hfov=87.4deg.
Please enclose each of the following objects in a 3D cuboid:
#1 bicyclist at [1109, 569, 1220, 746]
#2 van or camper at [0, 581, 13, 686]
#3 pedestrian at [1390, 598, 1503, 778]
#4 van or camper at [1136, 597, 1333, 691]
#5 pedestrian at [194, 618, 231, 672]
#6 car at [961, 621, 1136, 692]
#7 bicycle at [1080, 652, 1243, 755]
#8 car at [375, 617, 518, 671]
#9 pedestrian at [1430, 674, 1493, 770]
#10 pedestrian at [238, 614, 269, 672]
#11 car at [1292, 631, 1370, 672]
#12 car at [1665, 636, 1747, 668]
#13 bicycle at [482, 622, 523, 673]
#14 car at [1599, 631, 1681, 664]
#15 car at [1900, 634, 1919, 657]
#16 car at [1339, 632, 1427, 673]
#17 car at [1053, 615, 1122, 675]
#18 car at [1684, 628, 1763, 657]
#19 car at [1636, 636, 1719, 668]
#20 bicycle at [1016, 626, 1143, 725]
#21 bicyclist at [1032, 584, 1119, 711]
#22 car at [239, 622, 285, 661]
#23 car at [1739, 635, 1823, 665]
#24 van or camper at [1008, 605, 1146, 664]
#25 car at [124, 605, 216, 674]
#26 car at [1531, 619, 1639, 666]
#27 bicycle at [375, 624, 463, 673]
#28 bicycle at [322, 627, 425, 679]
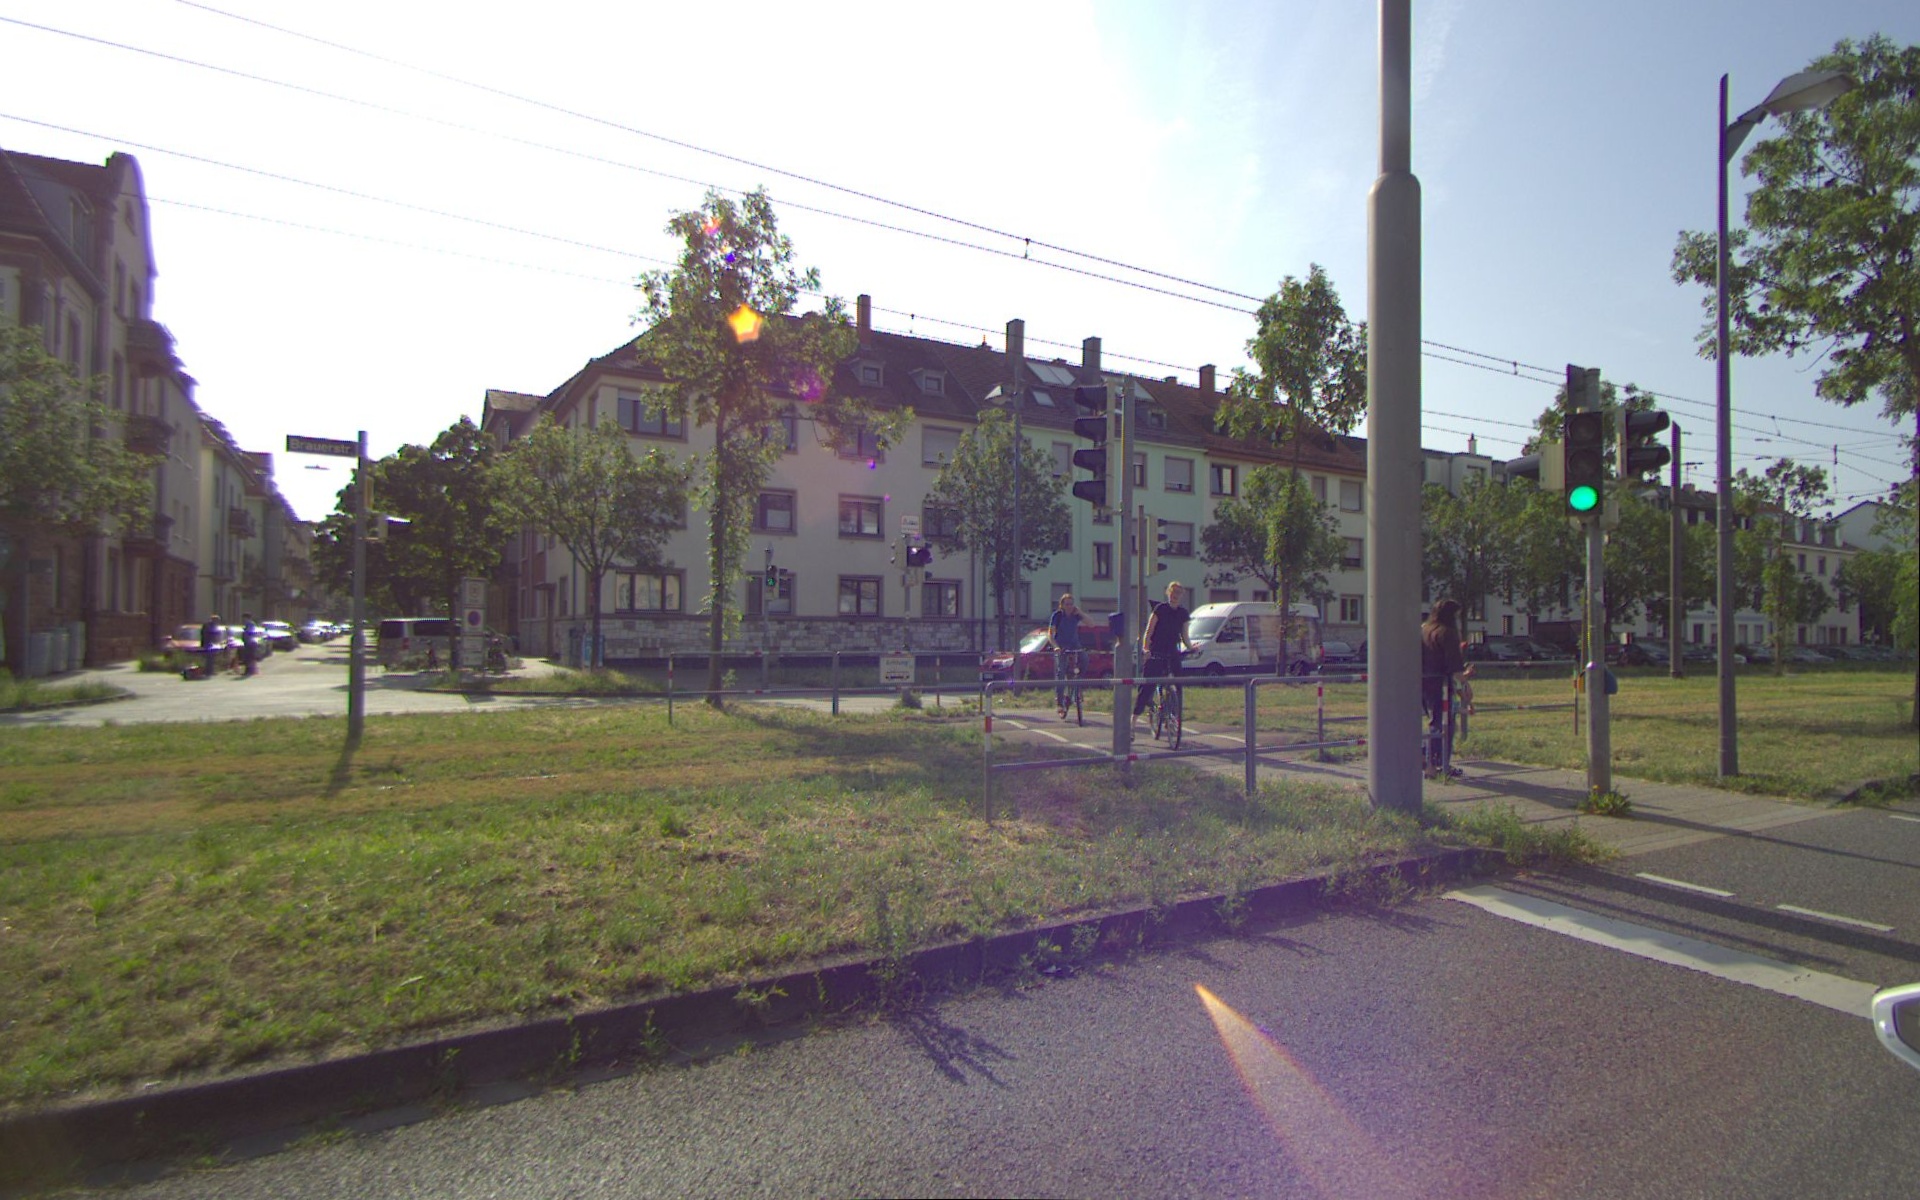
[{"bbox_3d":[2.387,0.657,11.811,0.678,1.959,1.141,2,-2,-32],"label":"bicyclist"},{"bbox_3d":[-26.577,0.756,23.335,6.285,2.601,2.028,2,0,-32],"label":"van or camper"},{"bbox_3d":[4.533,0.796,9.376,0.702,1.593,0.622,2,0,-30],"label":"pedestrian"},{"bbox_3d":[8.331,1.305,30.277,5.962,2.565,2.191,2,0,-32],"label":"van or camper"},{"bbox_3d":[-21.679,1.298,29.154,0.716,1.543,0.635,2,0,-27],"label":"pedestrian"},{"bbox_3d":[2.382,1.502,26.931,4.242,1.716,1.957,2,0,-27],"label":"car"},{"bbox_3d":[2.320,1.168,11.847,0.660,1.056,2.055,2,-2,-31],"label":"bicycle"},{"bbox_3d":[-19.048,1.590,37.421,1.981,1.790,4.322,2,0,32],"label":"car"},{"bbox_3d":[4.926,1.189,9.866,0.455,0.887,0.339,2,0,-30],"label":"pedestrian"},{"bbox_3d":[-20.753,1.261,29.507,0.611,1.688,0.579,2,0,-27],"label":"pedestrian"},{"bbox_3d":[15.027,2.054,40.922,1.685,1.431,4.000,2,0,1],"label":"car"},{"bbox_3d":[42.038,2.918,56.692,1.436,1.550,3.997,2,0,-4],"label":"car"},{"bbox_3d":[-14.999,1.526,32.864,1.089,1.481,2.663,2,0,-27],"label":"bicycle"},{"bbox_3d":[36.703,2.523,54.337,1.436,1.550,3.997,2,0,-4],"label":"car"},{"bbox_3d":[78.194,3.703,80.468,1.770,1.832,3.997,2,0,-4],"label":"car"},{"bbox_3d":[17.459,2.139,41.652,1.686,1.431,3.997,2,0,-4],"label":"car"},{"bbox_3d":[4.274,1.470,34.391,1.960,1.761,5.329,2,0,3],"label":"car"},{"bbox_3d":[45.784,2.525,60.311,1.436,1.550,3.997,2,0,-4],"label":"car"},{"bbox_3d":[39.342,2.823,55.171,1.436,1.550,3.997,2,0,-4],"label":"car"},{"bbox_3d":[1.701,1.066,14.692,0.774,1.341,2.057,2,-3,-30],"label":"bicycle"},{"bbox_3d":[1.686,0.722,14.794,0.678,1.784,1.142,2,-5,-30],"label":"bicyclist"},{"bbox_3d":[-40.742,2.385,58.697,1.978,2.040,3.965,2,0,-32],"label":"car"},{"bbox_3d":[50.389,3.038,61.733,1.624,1.617,3.997,2,0,-4],"label":"car"},{"bbox_3d":[5.056,1.486,43.066,5.757,2.359,1.985,2,0,-29],"label":"van or camper"},{"bbox_3d":[-25.793,1.234,32.950,1.995,1.965,4.627,2,0,-34],"label":"car"},{"bbox_3d":[31.317,2.075,50.536,1.841,2.040,5.231,2,0,-4],"label":"car"},{"bbox_3d":[-17.229,1.516,32.092,0.961,1.378,3.060,2,0,4],"label":"bicycle"},{"bbox_3d":[-18.664,1.659,32.069,0.912,1.481,3.222,2,0,11],"label":"bicycle"}]
